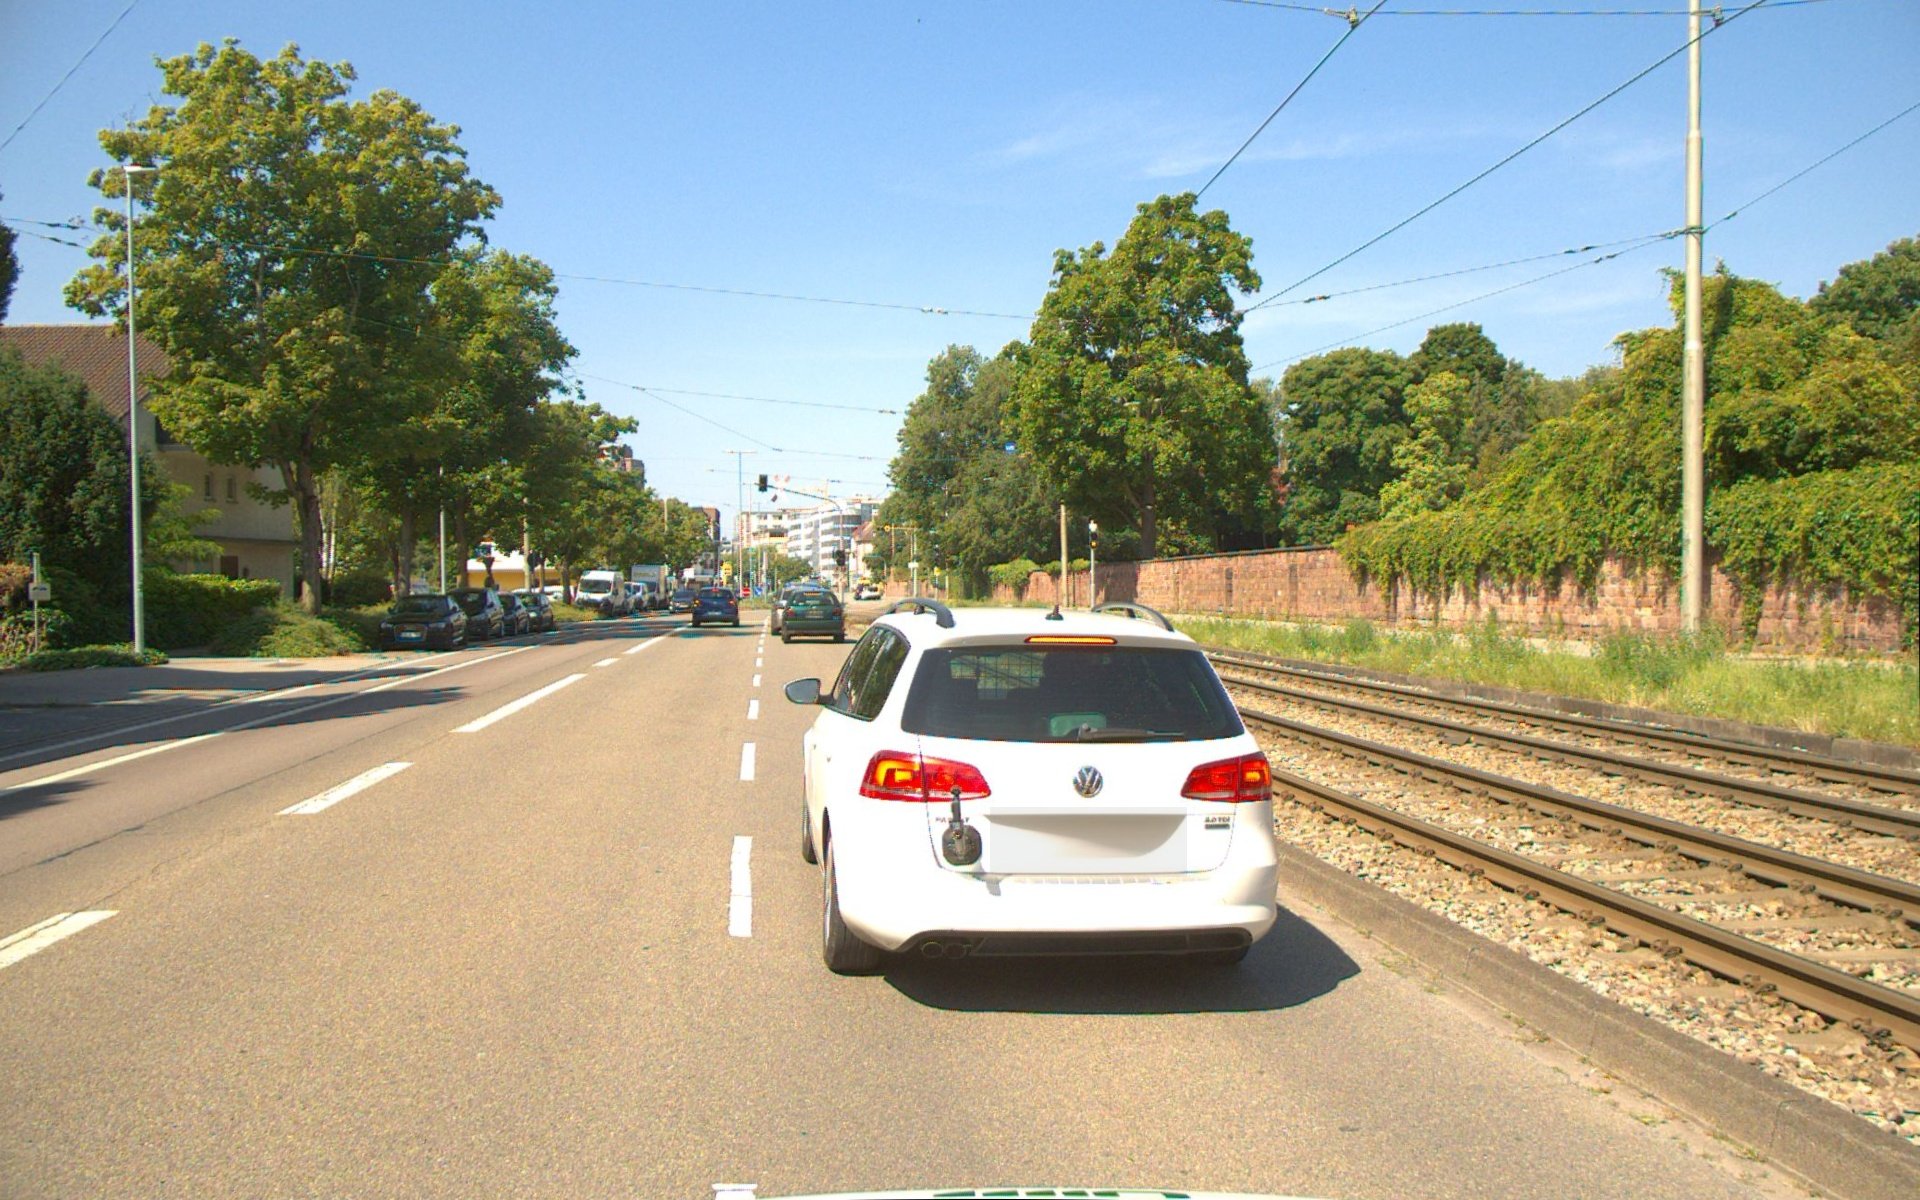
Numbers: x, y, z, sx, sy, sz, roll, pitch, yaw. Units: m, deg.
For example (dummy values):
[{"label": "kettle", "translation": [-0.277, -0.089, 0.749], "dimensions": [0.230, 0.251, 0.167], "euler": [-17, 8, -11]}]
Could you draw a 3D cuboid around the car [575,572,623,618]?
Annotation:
[{"label": "car", "translation": [-20.036, -0.273, 91.973], "dimensions": [1.843, 2.458, 5.113], "euler": [-1, 0, -3]}]

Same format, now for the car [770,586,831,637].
[{"label": "car", "translation": [-5.003, 0.322, 51.638], "dimensions": [1.766, 1.485, 3.994], "euler": [0, 1, -7]}]

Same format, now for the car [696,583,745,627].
[{"label": "car", "translation": [-8.968, 0.167, 62.130], "dimensions": [1.766, 1.533, 3.994], "euler": [0, 1, -7]}]

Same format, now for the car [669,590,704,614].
[{"label": "car", "translation": [-15.901, 0.098, 96.286], "dimensions": [1.666, 1.295, 3.996], "euler": [-1, 0, -5]}]

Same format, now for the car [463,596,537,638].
[{"label": "car", "translation": [-16.082, 0.585, 58.005], "dimensions": [1.666, 1.375, 3.997], "euler": [-1, 0, -3]}]

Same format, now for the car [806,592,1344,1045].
[{"label": "car", "translation": [0.208, 0.718, 7.854], "dimensions": [1.659, 1.476, 4.450], "euler": [-1, 1, -8]}]

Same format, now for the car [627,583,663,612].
[{"label": "car", "translation": [-21.367, -0.202, 112.463], "dimensions": [1.790, 1.899, 4.721], "euler": [-1, 0, -3]}]

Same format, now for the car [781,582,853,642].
[{"label": "car", "translation": [-3.916, 0.302, 44.816], "dimensions": [1.766, 1.533, 3.994], "euler": [0, 1, -7]}]

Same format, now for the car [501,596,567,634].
[{"label": "car", "translation": [-16.221, 0.549, 63.156], "dimensions": [1.666, 1.375, 3.997], "euler": [-1, 0, -3]}]

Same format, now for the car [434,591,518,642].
[{"label": "car", "translation": [-15.351, 0.501, 52.636], "dimensions": [1.666, 1.507, 3.997], "euler": [-1, 0, -3]}]

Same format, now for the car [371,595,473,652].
[{"label": "car", "translation": [-14.646, 0.618, 45.205], "dimensions": [1.666, 1.441, 3.997], "euler": [-1, 0, -3]}]

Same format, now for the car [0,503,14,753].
[{"label": "car", "translation": [-11.260, 0.294, 14.835], "dimensions": [1.956, 2.761, 7.148], "euler": [2, 0, -6]}]
